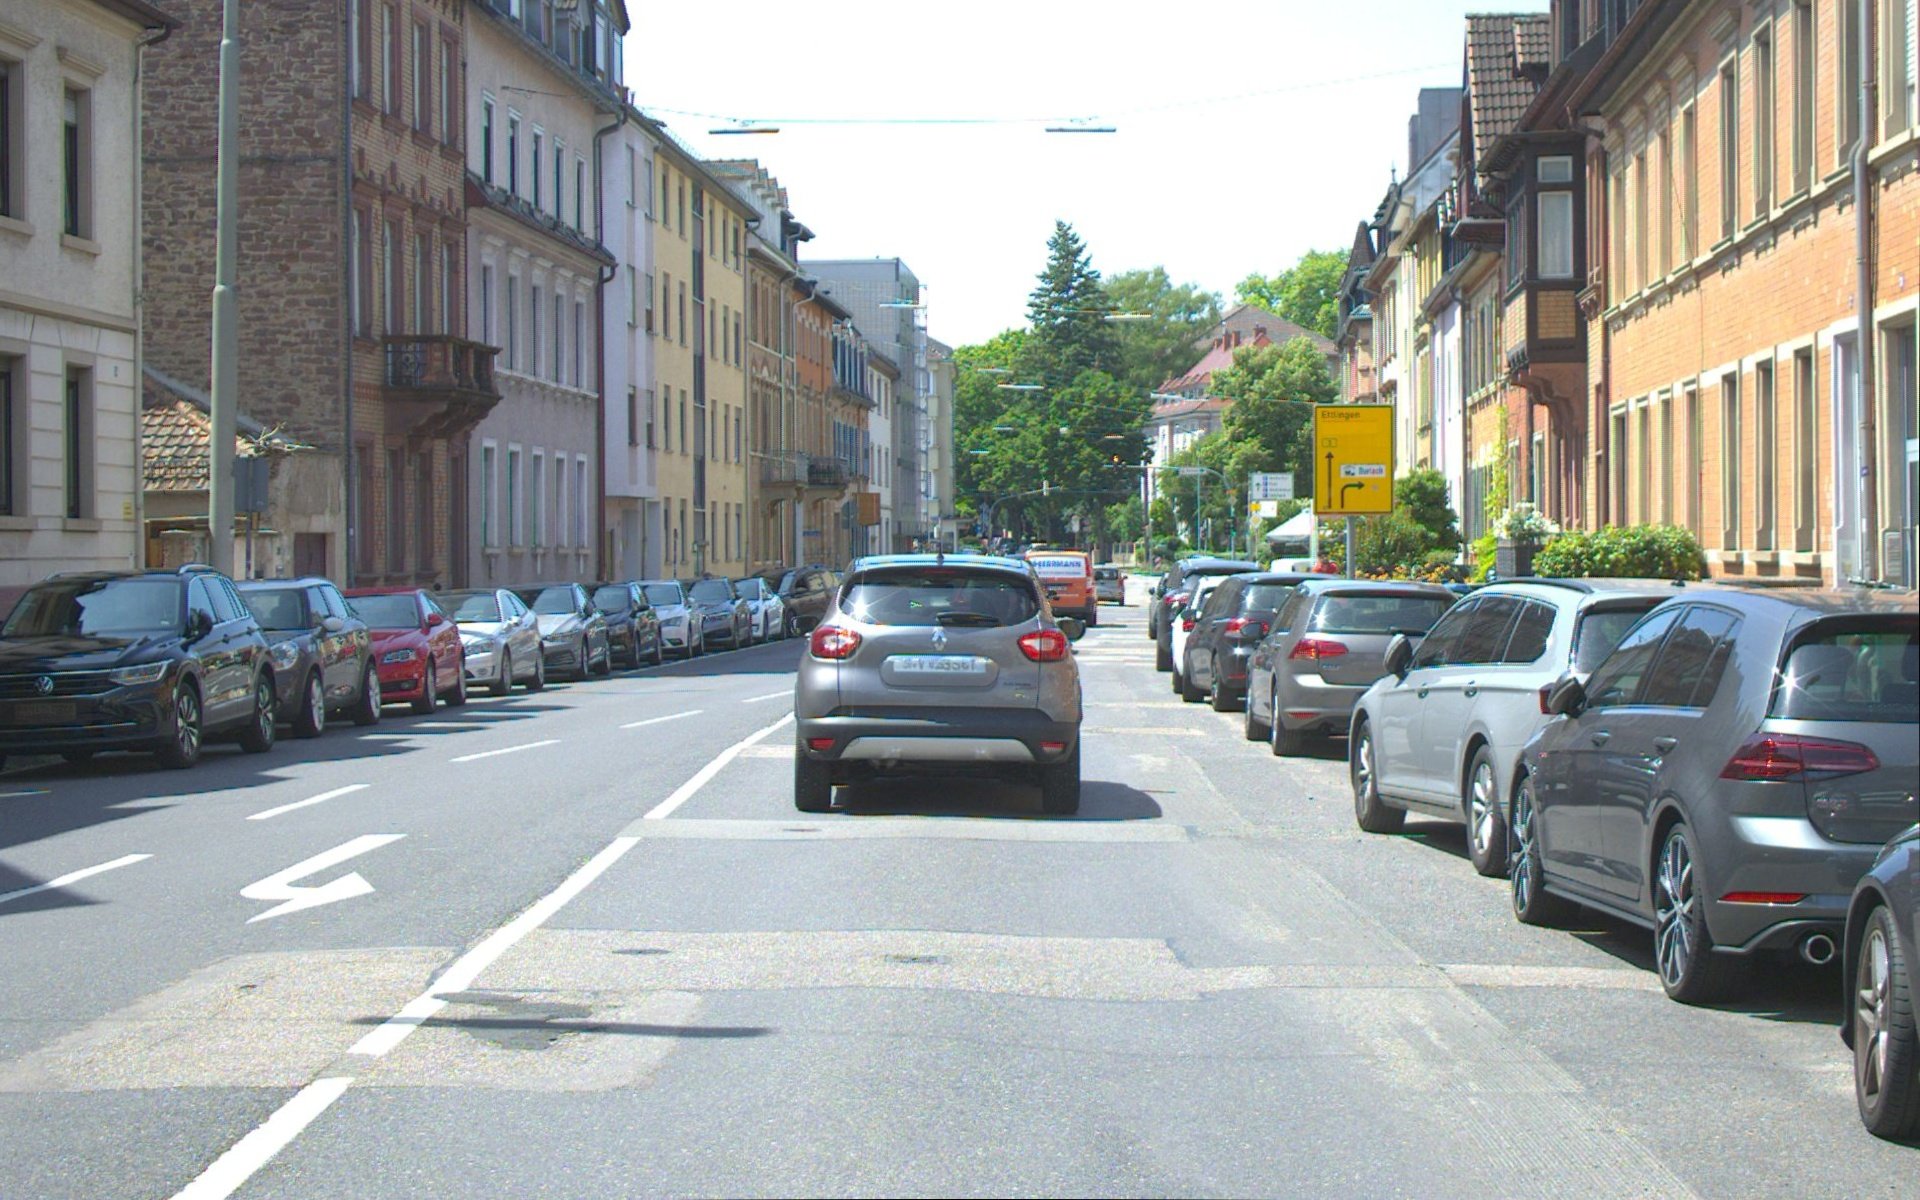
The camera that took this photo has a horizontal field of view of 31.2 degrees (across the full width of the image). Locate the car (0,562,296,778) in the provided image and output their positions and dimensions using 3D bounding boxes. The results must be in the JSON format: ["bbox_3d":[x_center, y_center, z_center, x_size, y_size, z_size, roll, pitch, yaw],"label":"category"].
[{"bbox_3d":[-6.934,0.527,28.374,1.840,1.591,4.502,-2,0,2],"label":"car"}]

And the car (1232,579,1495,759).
[{"bbox_3d":[3.290,0.523,28.713,1.700,1.376,4.167,0,0,0],"label":"car"}]

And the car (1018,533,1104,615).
[{"bbox_3d":[2.622,-0.686,88.335,1.994,2.007,4.466,-1,1,4],"label":"car"}]

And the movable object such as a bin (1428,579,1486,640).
[{"bbox_3d":[7.526,0.139,52.052,0.788,0.904,0.539,-1,1,0],"label":"movable object such as a bin"}]

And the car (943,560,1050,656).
[{"bbox_3d":[0.684,0.115,61.753,1.812,1.615,4.441,-2,0,1],"label":"car"}]

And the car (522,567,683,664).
[{"bbox_3d":[-5.895,0.226,57.167,1.840,1.417,4.502,-4,0,4],"label":"car"}]

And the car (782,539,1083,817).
[{"bbox_3d":[-0.198,0.432,22.207,1.744,1.611,4.000,1,1,-1],"label":"car"}]

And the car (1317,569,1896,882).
[{"bbox_3d":[3.267,0.574,18.358,1.853,1.458,4.551,0,0,-5],"label":"car"}]

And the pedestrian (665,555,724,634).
[{"bbox_3d":[-5.948,-0.118,76.998,1.151,1.744,0.969,-1,1,5],"label":"pedestrian"}]

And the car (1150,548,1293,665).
[{"bbox_3d":[3.906,0.069,51.997,1.994,1.656,4.625,-1,1,3],"label":"car"}]

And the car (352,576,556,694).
[{"bbox_3d":[-6.621,0.425,45.457,1.840,1.418,4.502,-2,0,2],"label":"car"}]

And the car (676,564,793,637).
[{"bbox_3d":[-4.827,-0.002,74.107,1.840,1.418,4.557,-3,0,4],"label":"car"}]

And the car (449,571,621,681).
[{"bbox_3d":[-6.285,0.364,51.313,1.840,1.417,4.502,-5,0,1],"label":"car"}]

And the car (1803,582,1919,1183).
[{"bbox_3d":[3.198,0.709,7.442,1.711,1.468,4.438,-1,1,1],"label":"car"}]

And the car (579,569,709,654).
[{"bbox_3d":[-5.696,0.187,62.422,1.840,1.418,4.502,-2,0,1],"label":"car"}]

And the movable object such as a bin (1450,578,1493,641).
[{"bbox_3d":[8.639,0.164,58.061,0.659,1.051,0.748,0,1,4],"label":"movable object such as a bin"}]

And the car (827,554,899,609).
[{"bbox_3d":[-3.006,-0.585,107.494,1.905,1.614,4.302,-2,1,2],"label":"car"}]

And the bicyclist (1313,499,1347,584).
[{"bbox_3d":[6.462,-1.017,60.027,0.532,1.464,0.791,-1,0,3],"label":"bicyclist"}]

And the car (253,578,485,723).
[{"bbox_3d":[-6.606,0.521,38.869,1.839,1.417,4.503,-3,1,-1],"label":"car"}]

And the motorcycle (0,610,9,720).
[{"bbox_3d":[-9.891,0.654,33.167,0.845,1.075,1.871,-1,1,2],"label":"motorcycle"}]

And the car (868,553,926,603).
[{"bbox_3d":[-2.183,-0.779,119.153,1.904,1.614,4.302,-2,1,-1],"label":"car"}]

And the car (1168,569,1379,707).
[{"bbox_3d":[3.364,0.374,37.658,1.648,1.409,4.502,0,0,-3],"label":"car"}]

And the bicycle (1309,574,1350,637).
[{"bbox_3d":[6.451,0.085,60.003,0.593,1.062,1.882,-1,1,3],"label":"bicycle"}]

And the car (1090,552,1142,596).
[{"bbox_3d":[5.705,-0.952,125.474,1.763,1.554,3.942,0,1,4],"label":"car"}]

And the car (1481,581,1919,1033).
[{"bbox_3d":[3.193,0.653,13.098,1.651,1.415,4.049,0,1,-2],"label":"car"}]

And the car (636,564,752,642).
[{"bbox_3d":[-5.246,0.036,68.340,1.840,1.418,4.646,-2,0,1],"label":"car"}]

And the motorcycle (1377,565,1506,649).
[{"bbox_3d":[8.509,0.115,60.800,2.129,1.403,0.937,-2,0,2],"label":"motorcycle"}]

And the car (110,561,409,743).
[{"bbox_3d":[-6.895,0.471,34.306,1.840,1.591,4.502,-4,0,2],"label":"car"}]

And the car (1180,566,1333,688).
[{"bbox_3d":[3.634,0.294,42.765,1.716,1.409,4.589,-1,1,3],"label":"car"}]
